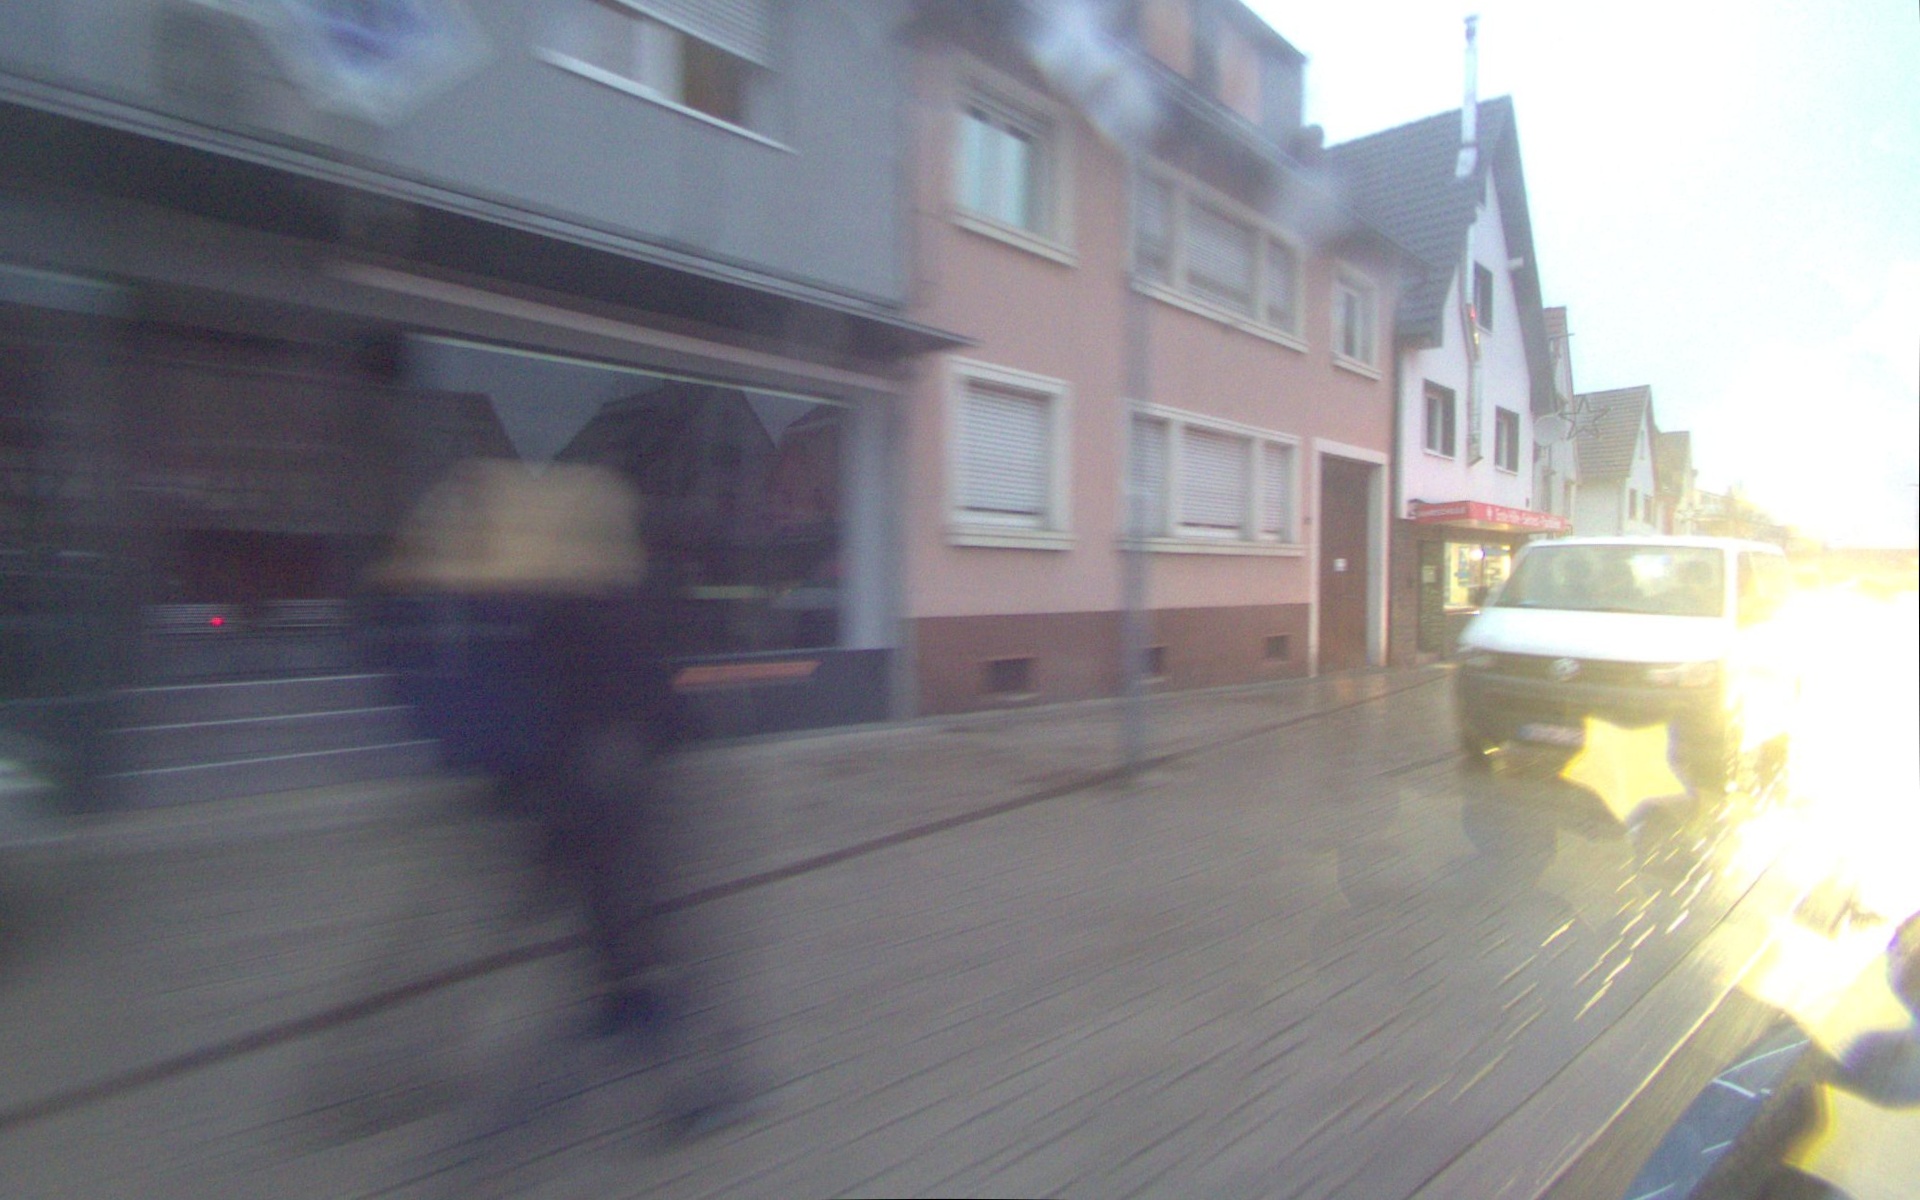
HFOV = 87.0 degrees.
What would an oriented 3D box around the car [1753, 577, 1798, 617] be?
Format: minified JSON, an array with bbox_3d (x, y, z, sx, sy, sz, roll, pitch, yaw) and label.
[{"bbox_3d":[45.186,-0.171,56.113,1.741,2.038,3.755,4,2,38],"label":"car"}]

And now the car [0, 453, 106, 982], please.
[{"bbox_3d":[-4.514,0.327,2.378,1.732,1.580,3.610,3,2,40],"label":"car"}]

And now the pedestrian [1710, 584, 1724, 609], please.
[{"bbox_3d":[51.195,-0.228,68.419,0.654,1.625,0.712,2,1,41],"label":"pedestrian"}]

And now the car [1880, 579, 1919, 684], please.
[{"bbox_3d":[17.387,0.492,17.417,2.264,1.663,4.987,1,1,43],"label":"car"}]

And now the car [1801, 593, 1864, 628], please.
[{"bbox_3d":[34.168,0.379,39.713,1.657,1.227,3.726,2,2,38],"label":"car"}]

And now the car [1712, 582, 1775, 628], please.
[{"bbox_3d":[33.214,0.173,42.936,1.990,1.806,4.457,2,1,38],"label":"car"}]

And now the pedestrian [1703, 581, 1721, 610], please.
[{"bbox_3d":[46.810,-0.292,62.965,0.816,1.787,1.045,2,1,38],"label":"pedestrian"}]

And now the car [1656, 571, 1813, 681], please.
[{"bbox_3d":[13.847,0.384,18.063,1.971,1.681,4.397,2,2,39],"label":"car"}]

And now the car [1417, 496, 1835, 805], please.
[{"bbox_3d":[6.016,0.302,8.862,4.770,1.984,1.975,0,1,-43],"label":"car"}]

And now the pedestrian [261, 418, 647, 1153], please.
[{"bbox_3d":[-1.320,0.412,2.760,0.572,1.690,0.789,2,1,10],"label":"pedestrian"}]

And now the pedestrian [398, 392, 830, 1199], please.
[{"bbox_3d":[-0.760,0.435,2.440,0.703,1.720,0.803,1,1,5],"label":"pedestrian"}]
